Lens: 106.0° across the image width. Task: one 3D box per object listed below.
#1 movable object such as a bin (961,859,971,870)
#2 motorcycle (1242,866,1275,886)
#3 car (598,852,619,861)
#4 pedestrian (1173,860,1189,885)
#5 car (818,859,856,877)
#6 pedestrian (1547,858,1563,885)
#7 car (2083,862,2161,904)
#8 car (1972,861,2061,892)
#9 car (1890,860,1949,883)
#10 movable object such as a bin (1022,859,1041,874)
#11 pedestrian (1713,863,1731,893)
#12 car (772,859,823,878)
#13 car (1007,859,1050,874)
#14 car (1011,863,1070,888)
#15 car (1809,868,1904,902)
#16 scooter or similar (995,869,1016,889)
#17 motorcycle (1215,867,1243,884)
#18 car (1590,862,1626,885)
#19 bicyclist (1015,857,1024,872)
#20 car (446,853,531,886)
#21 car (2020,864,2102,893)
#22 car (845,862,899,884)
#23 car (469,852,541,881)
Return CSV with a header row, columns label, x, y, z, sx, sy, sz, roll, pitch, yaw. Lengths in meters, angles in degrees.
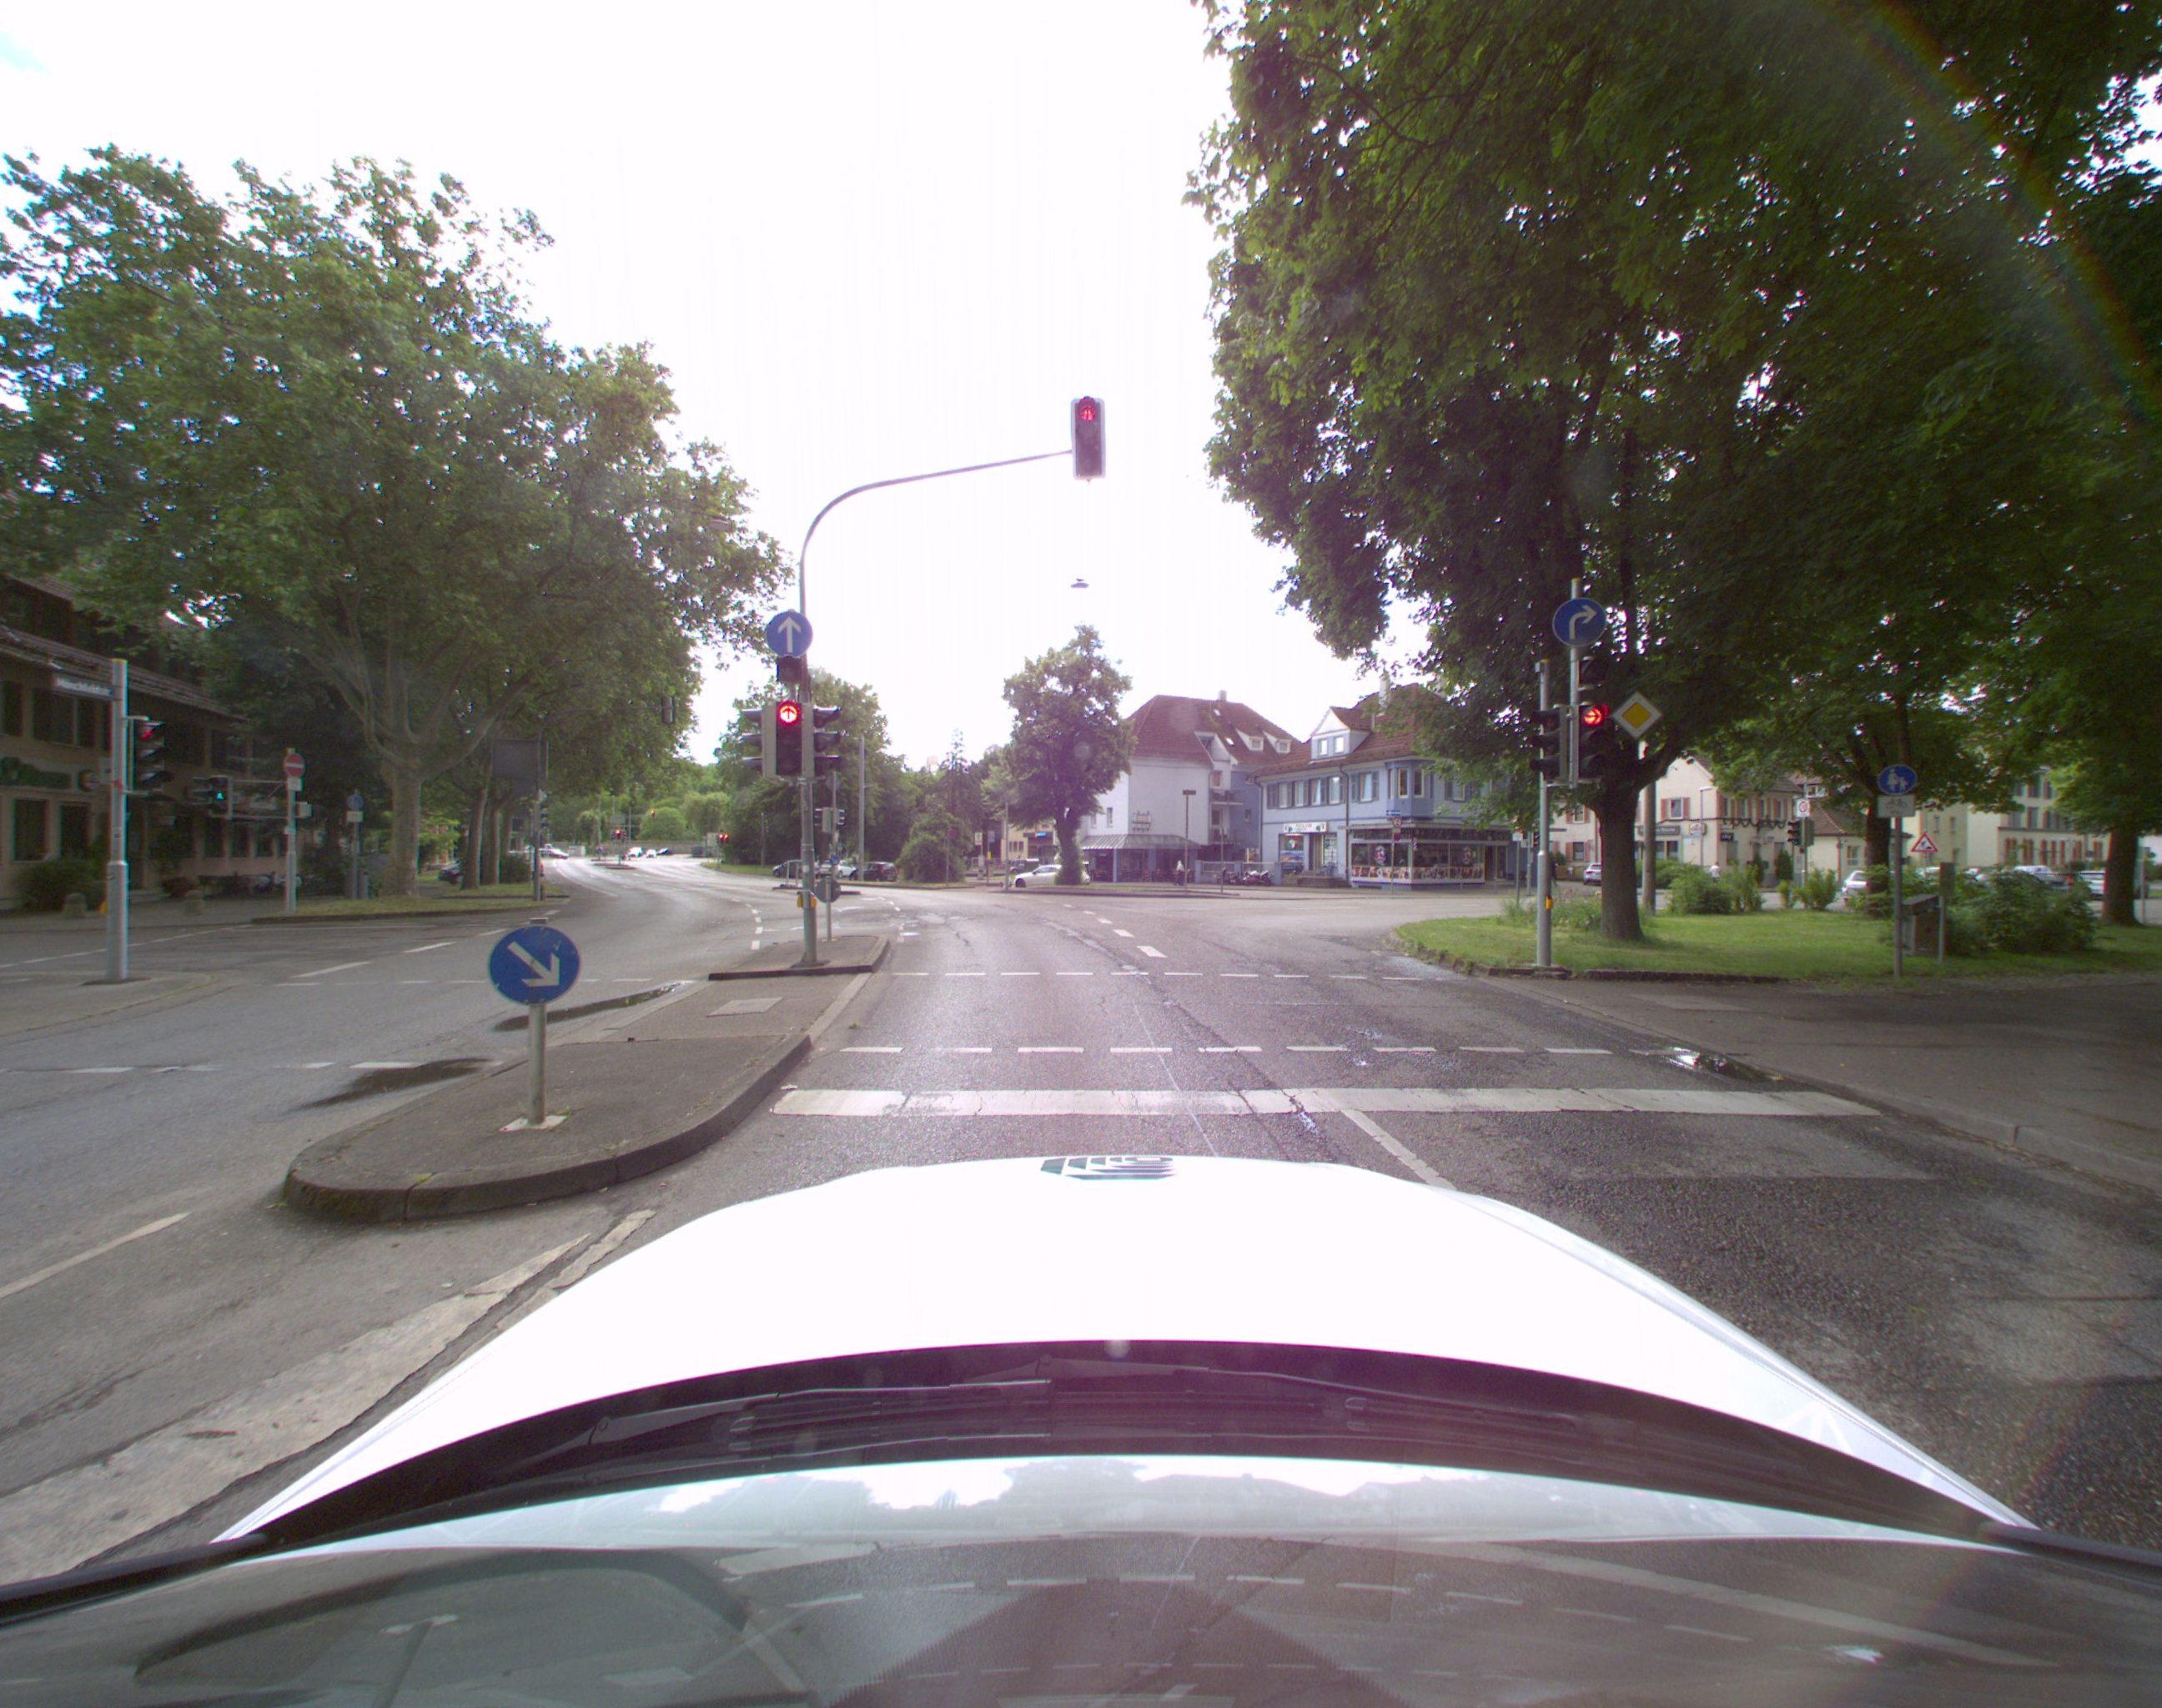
label,x,y,z,sx,sy,sz,roll,pitch,yaw
movable object such as a bin,-12.224,1.112,86.642,0.953,1.115,0.381,0,-1,-19
motorcycle,10.535,1.285,48.268,1.777,1.121,0.699,0,-1,40
car,-106.282,0.473,183.193,4.011,2.014,1.981,0,-1,-29
pedestrian,6.211,1.116,50.535,0.759,1.545,0.682,-1,-1,41
car,-20.081,1.125,67.189,1.534,1.464,3.407,0,0,13
pedestrian,27.208,0.991,46.748,0.459,1.517,0.584,0,-1,-18
car,52.831,1.435,41.134,4.004,2.014,1.770,0,-1,-23
car,42.217,0.976,36.759,3.510,1.321,1.549,0,0,-21
car,55.115,1.125,53.538,4.007,1.420,1.544,0,0,-26
movable object such as a bin,-4.526,1.128,74.253,1.447,1.409,0.959,0,-1,-25
pedestrian,35.761,1.313,45.436,0.611,1.649,0.606,0,-1,-27
car,-22.440,1.109,64.487,3.520,1.464,1.591,0,0,14
car,-4.883,1.129,76.160,3.752,1.345,1.422,0,0,-25
car,-2.308,1.199,46.243,3.134,1.354,1.448,0,-1,36
car,31.964,1.252,33.575,3.511,1.321,1.549,0,0,-22
scooter or similar,-3.977,1.288,42.886,0.413,1.011,1.575,-1,-1,22
motorcycle,9.113,1.311,50.083,0.699,1.064,1.617,0,-1,-44
car,32.602,1.182,50.348,1.481,1.369,3.198,-1,-1,40
bicyclist,-6.368,1.083,84.778,0.603,1.541,0.731,0,-1,-37
car,-31.001,0.781,42.719,3.461,1.641,1.557,0,-1,-31
car,47.004,1.167,39.067,3.511,1.321,1.549,0,0,-22
car,-13.907,1.263,54.208,3.549,1.394,1.481,0,-1,34
car,-35.484,0.753,50.284,3.461,1.742,1.557,0,-1,-31
